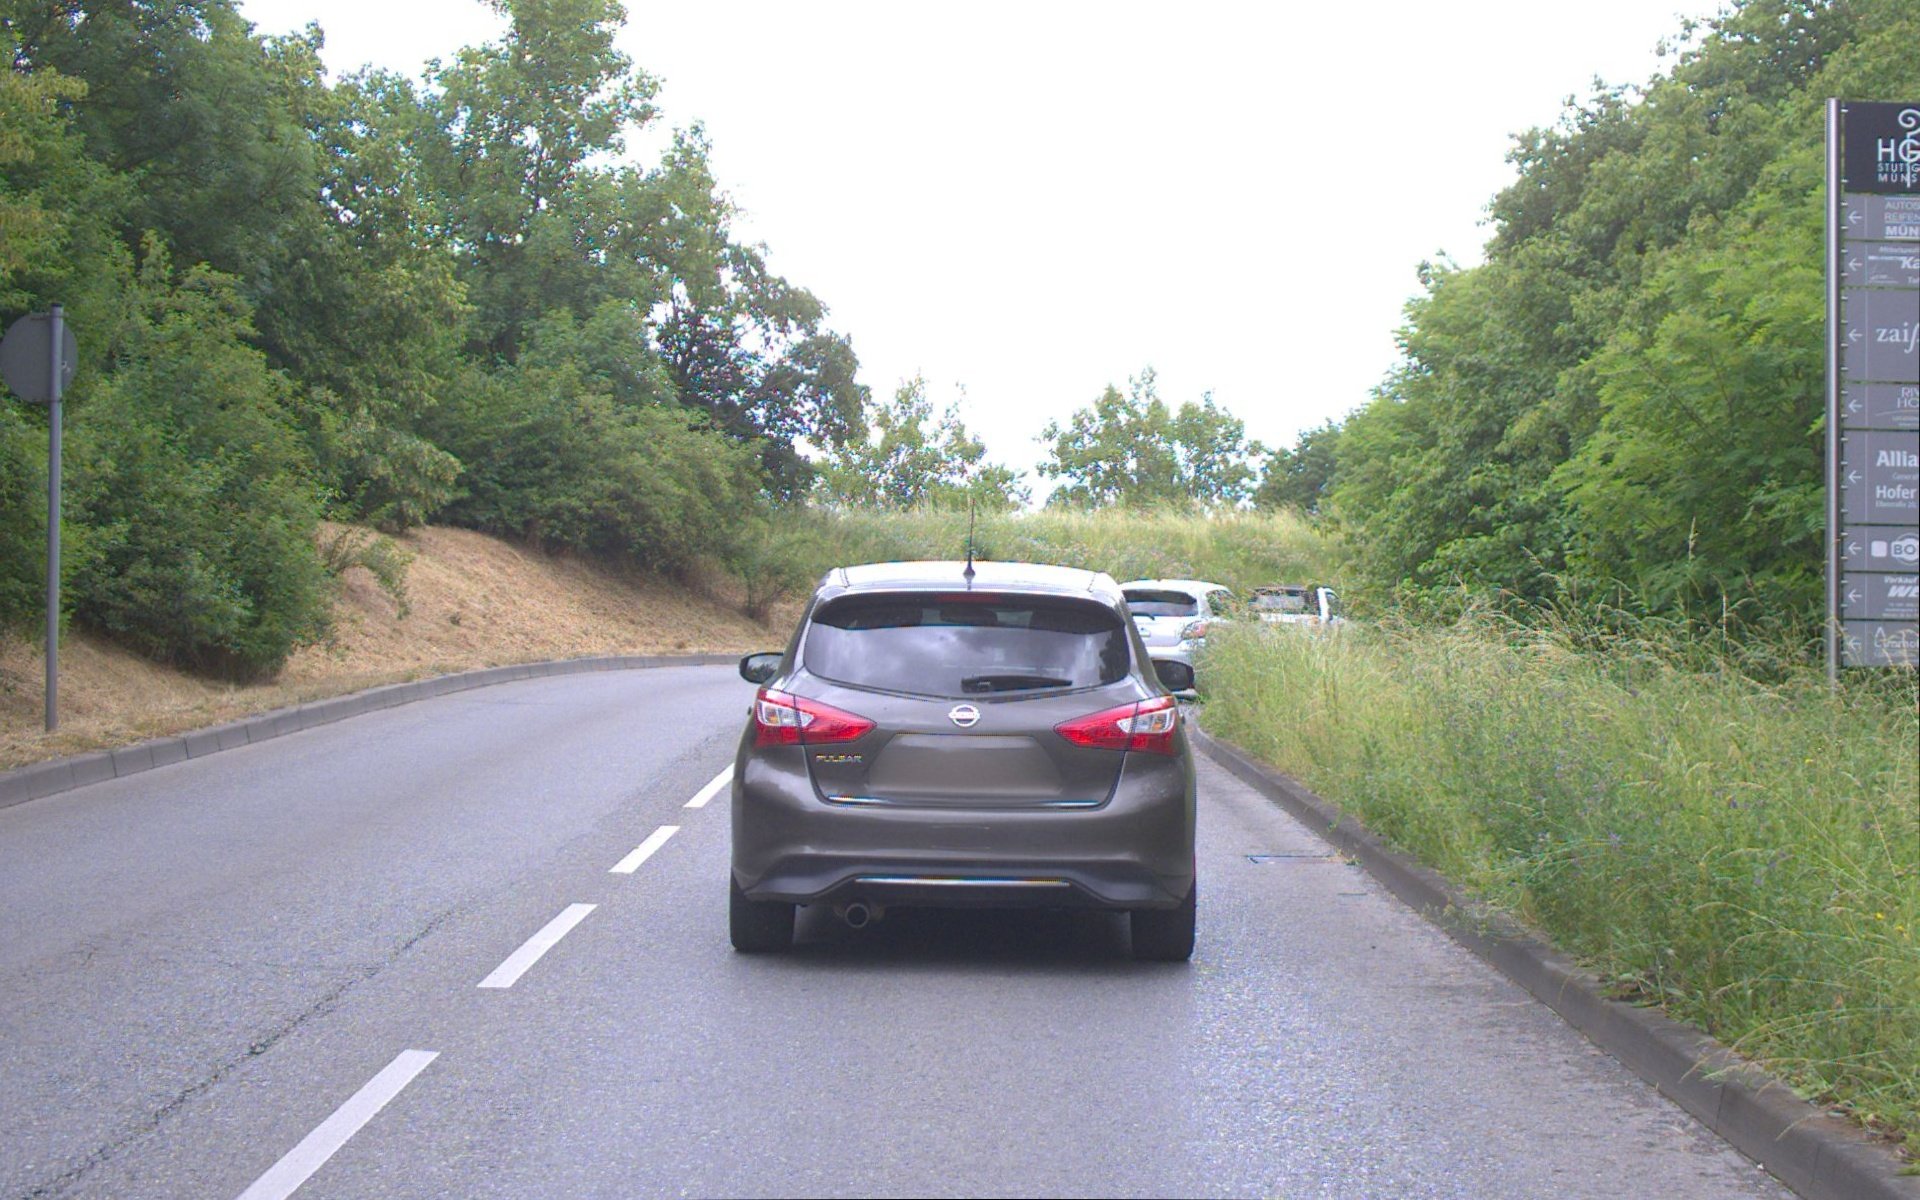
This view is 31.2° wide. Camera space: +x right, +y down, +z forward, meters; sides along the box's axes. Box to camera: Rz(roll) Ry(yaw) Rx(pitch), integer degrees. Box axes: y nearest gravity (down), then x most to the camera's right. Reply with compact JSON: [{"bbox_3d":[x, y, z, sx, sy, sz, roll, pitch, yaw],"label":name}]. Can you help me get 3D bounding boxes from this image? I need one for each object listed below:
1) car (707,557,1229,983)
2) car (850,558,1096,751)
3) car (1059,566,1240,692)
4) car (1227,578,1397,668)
[{"bbox_3d":[-0.052,0.586,14.309,1.844,1.488,4.000,1,1,-2],"label":"car"},{"bbox_3d":[0.036,0.401,29.197,1.844,1.488,4.228,0,1,-3],"label":"car"},{"bbox_3d":[2.418,0.333,43.052,1.722,1.489,3.575,0,1,12],"label":"car"},{"bbox_3d":[5.913,0.355,57.355,1.800,1.393,3.996,0,1,22],"label":"car"}]
